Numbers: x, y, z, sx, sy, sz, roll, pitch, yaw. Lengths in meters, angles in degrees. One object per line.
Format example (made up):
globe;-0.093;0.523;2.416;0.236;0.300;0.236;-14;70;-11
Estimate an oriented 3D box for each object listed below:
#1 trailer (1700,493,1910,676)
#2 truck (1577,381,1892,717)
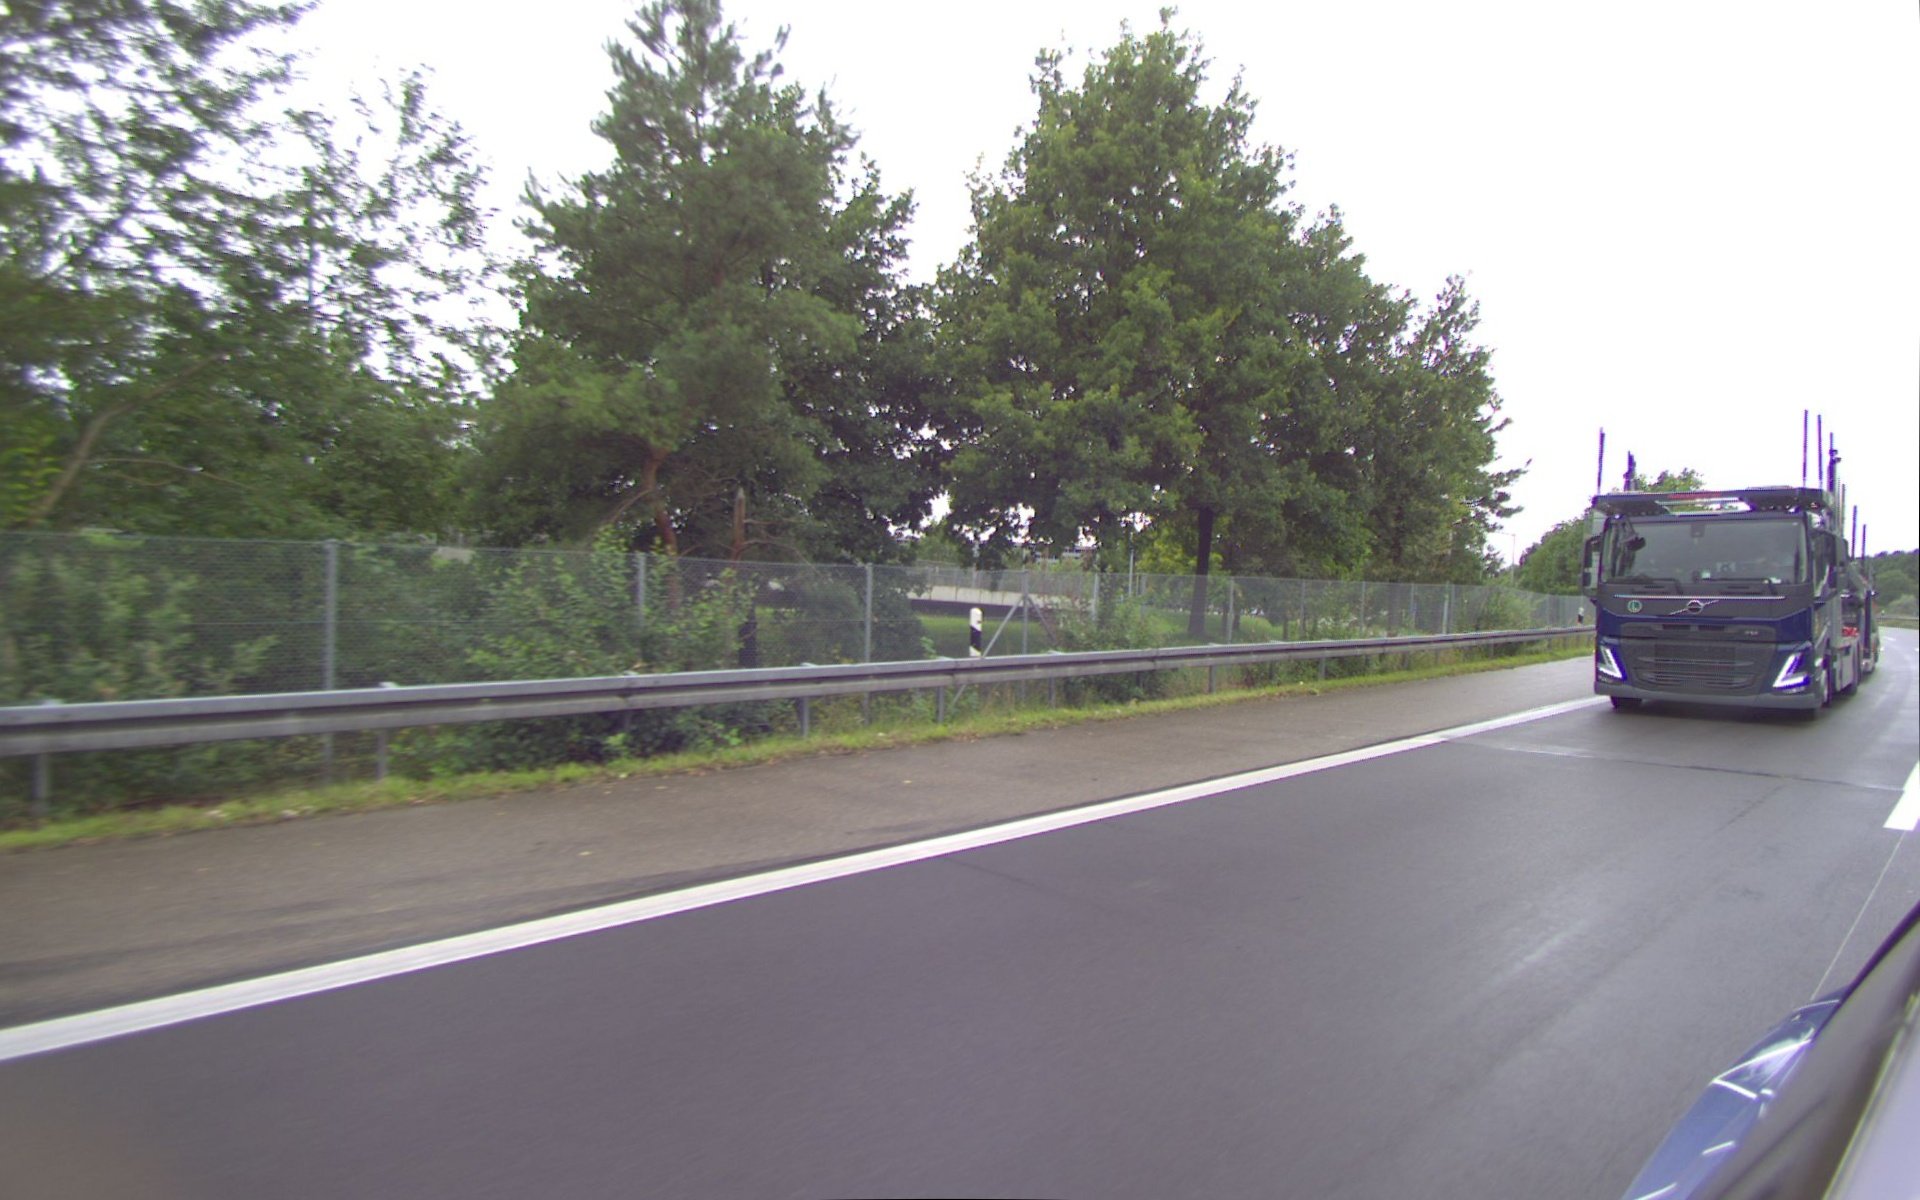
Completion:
trailer;19.514;-0.299;23.045;2.779;3.326;10.238;2;1;45
truck;12.749;-0.575;16.234;8.977;4.018;2.740;1;-1;-44
